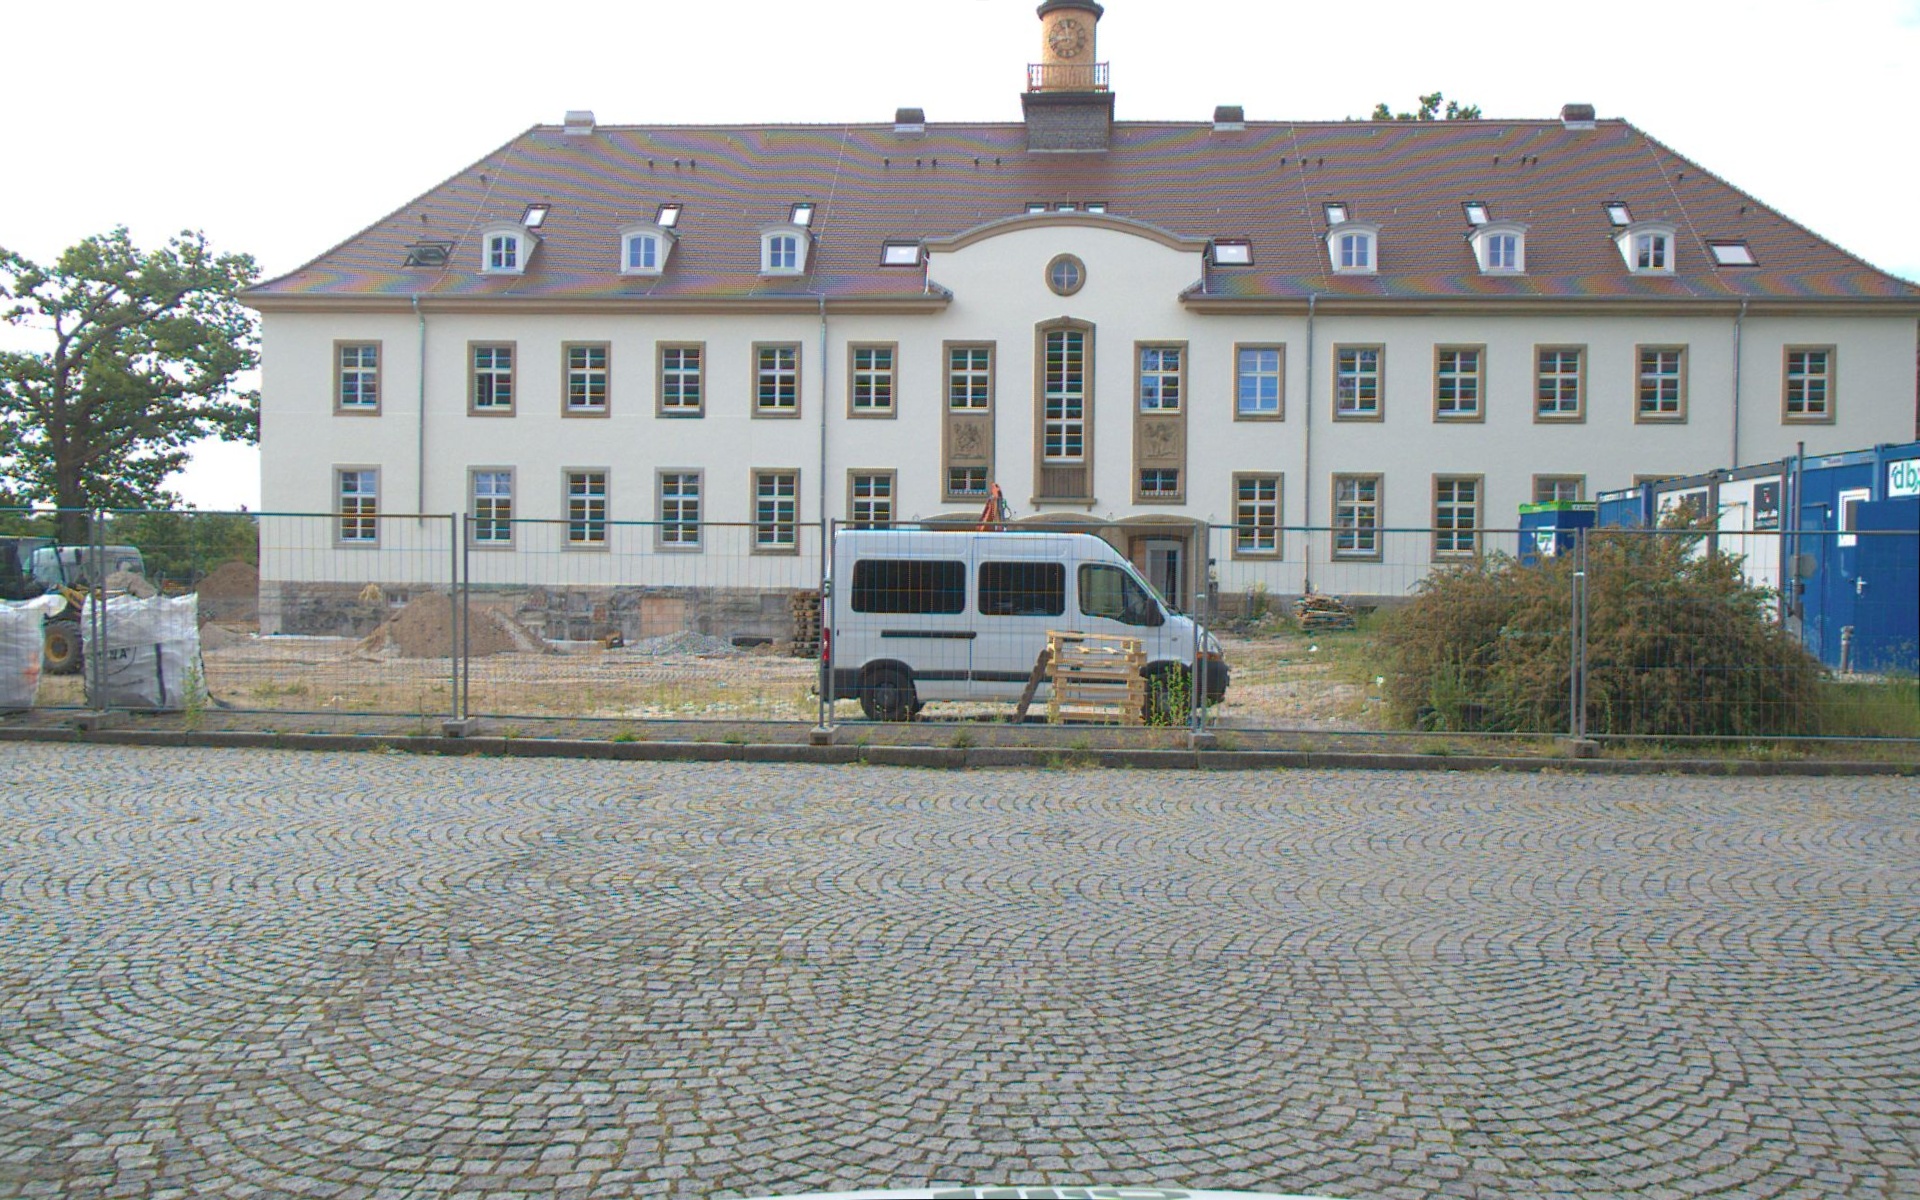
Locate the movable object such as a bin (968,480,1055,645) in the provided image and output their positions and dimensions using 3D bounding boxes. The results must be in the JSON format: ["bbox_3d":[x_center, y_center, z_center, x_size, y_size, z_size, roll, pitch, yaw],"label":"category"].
[{"bbox_3d":[1.221,-0.892,41.239,1.953,3.837,5.317,1,0,0],"label":"movable object such as a bin"}]

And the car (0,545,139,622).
[{"bbox_3d":[-26.829,-0.494,49.717,2.026,2.188,4.896,0,0,-3],"label":"car"}]

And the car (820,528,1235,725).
[{"bbox_3d":[0.896,0.313,21.563,5.151,2.385,1.911,1,0,5],"label":"car"}]

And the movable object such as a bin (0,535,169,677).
[{"bbox_3d":[-18.168,0.083,31.500,5.218,2.601,2.001,0,0,2],"label":"movable object such as a bin"}]
